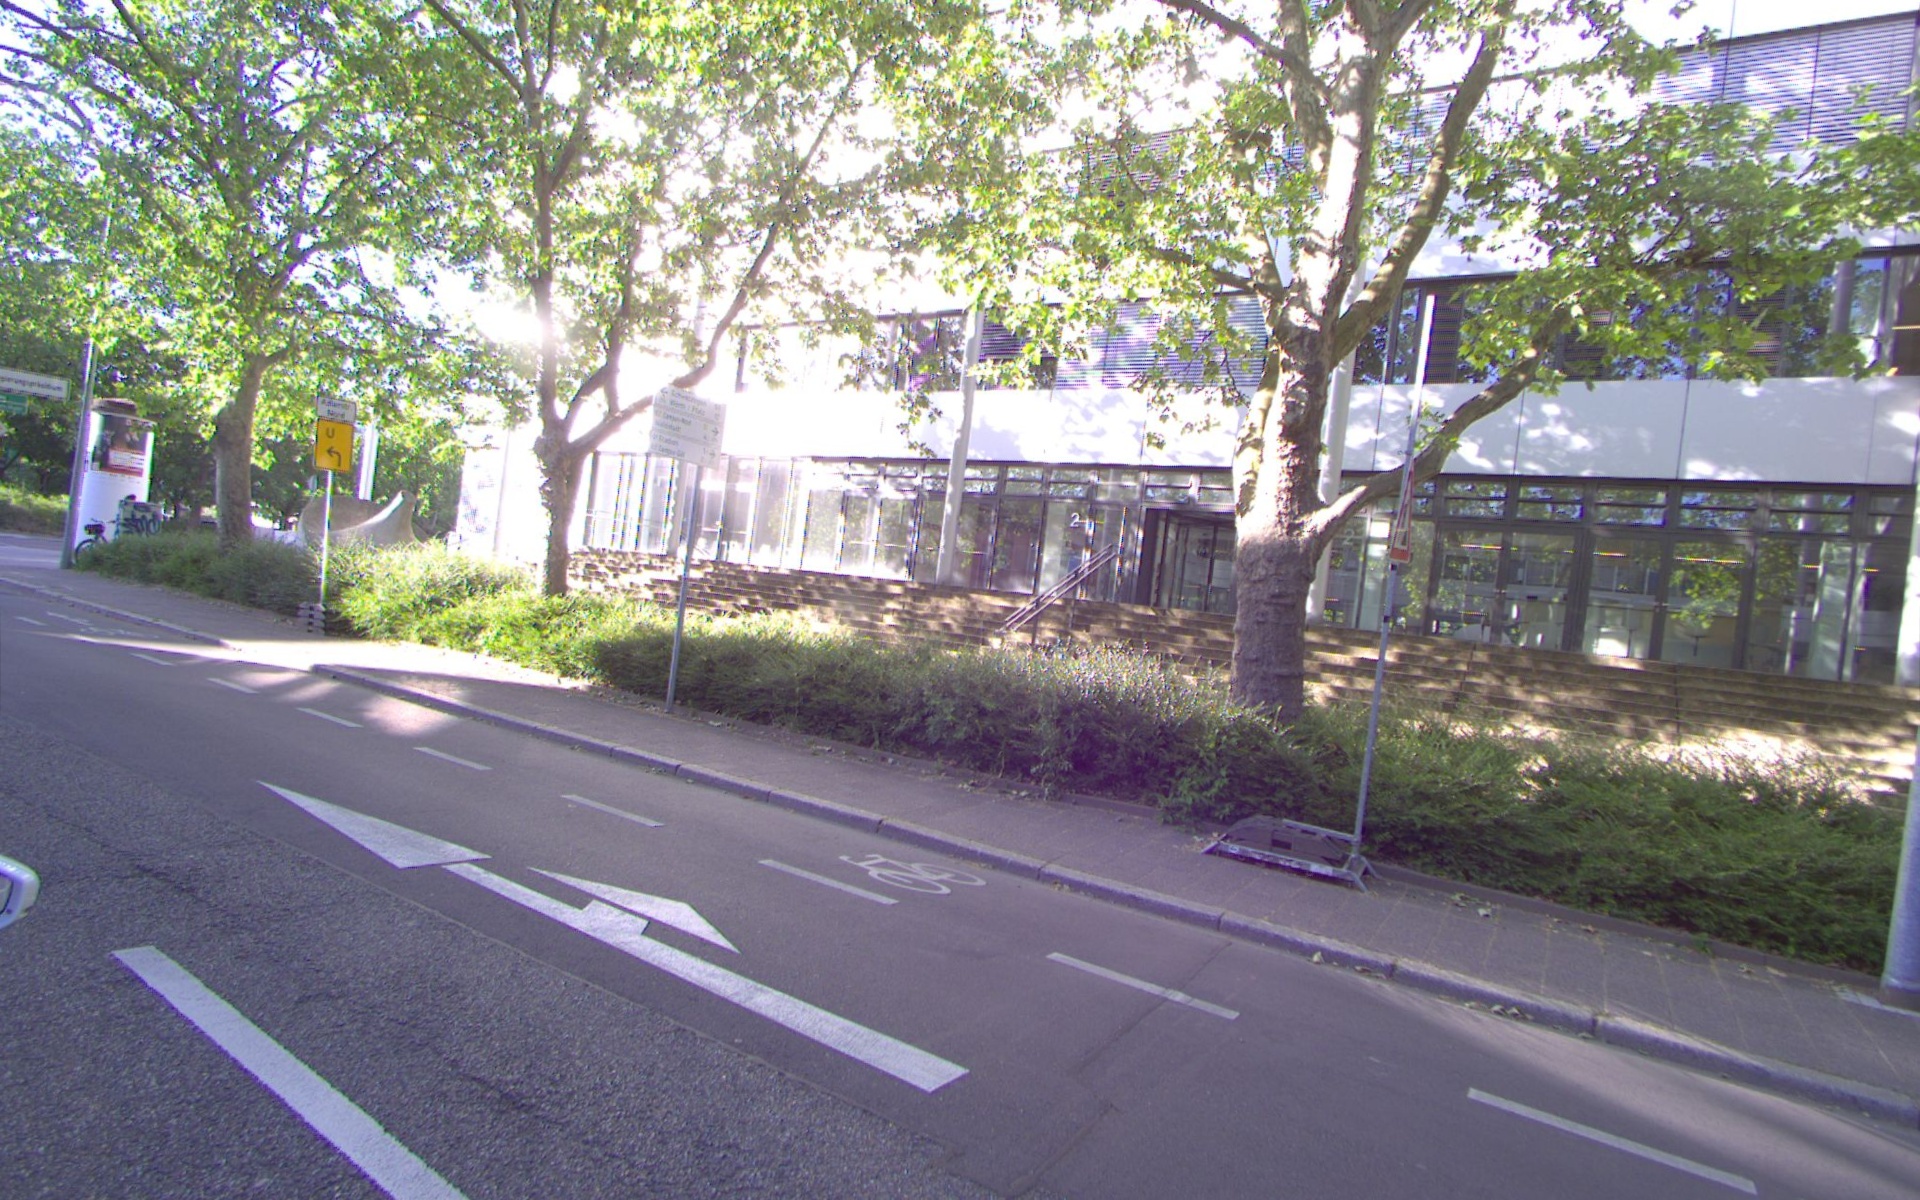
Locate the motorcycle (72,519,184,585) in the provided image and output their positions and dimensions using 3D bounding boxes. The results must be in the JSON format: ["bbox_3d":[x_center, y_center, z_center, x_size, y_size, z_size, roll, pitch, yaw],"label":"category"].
[{"bbox_3d":[-19.231,-1.095,23.289,0.712,1.257,1.782,6,-2,37],"label":"motorcycle"}]

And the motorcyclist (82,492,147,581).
[{"bbox_3d":[-19.358,-1.450,23.041,0.662,1.885,0.823,6,-1,37],"label":"motorcyclist"}]

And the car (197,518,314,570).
[{"bbox_3d":[-32.705,-2.567,46.830,1.708,1.792,3.996,7,-1,30],"label":"car"}]
